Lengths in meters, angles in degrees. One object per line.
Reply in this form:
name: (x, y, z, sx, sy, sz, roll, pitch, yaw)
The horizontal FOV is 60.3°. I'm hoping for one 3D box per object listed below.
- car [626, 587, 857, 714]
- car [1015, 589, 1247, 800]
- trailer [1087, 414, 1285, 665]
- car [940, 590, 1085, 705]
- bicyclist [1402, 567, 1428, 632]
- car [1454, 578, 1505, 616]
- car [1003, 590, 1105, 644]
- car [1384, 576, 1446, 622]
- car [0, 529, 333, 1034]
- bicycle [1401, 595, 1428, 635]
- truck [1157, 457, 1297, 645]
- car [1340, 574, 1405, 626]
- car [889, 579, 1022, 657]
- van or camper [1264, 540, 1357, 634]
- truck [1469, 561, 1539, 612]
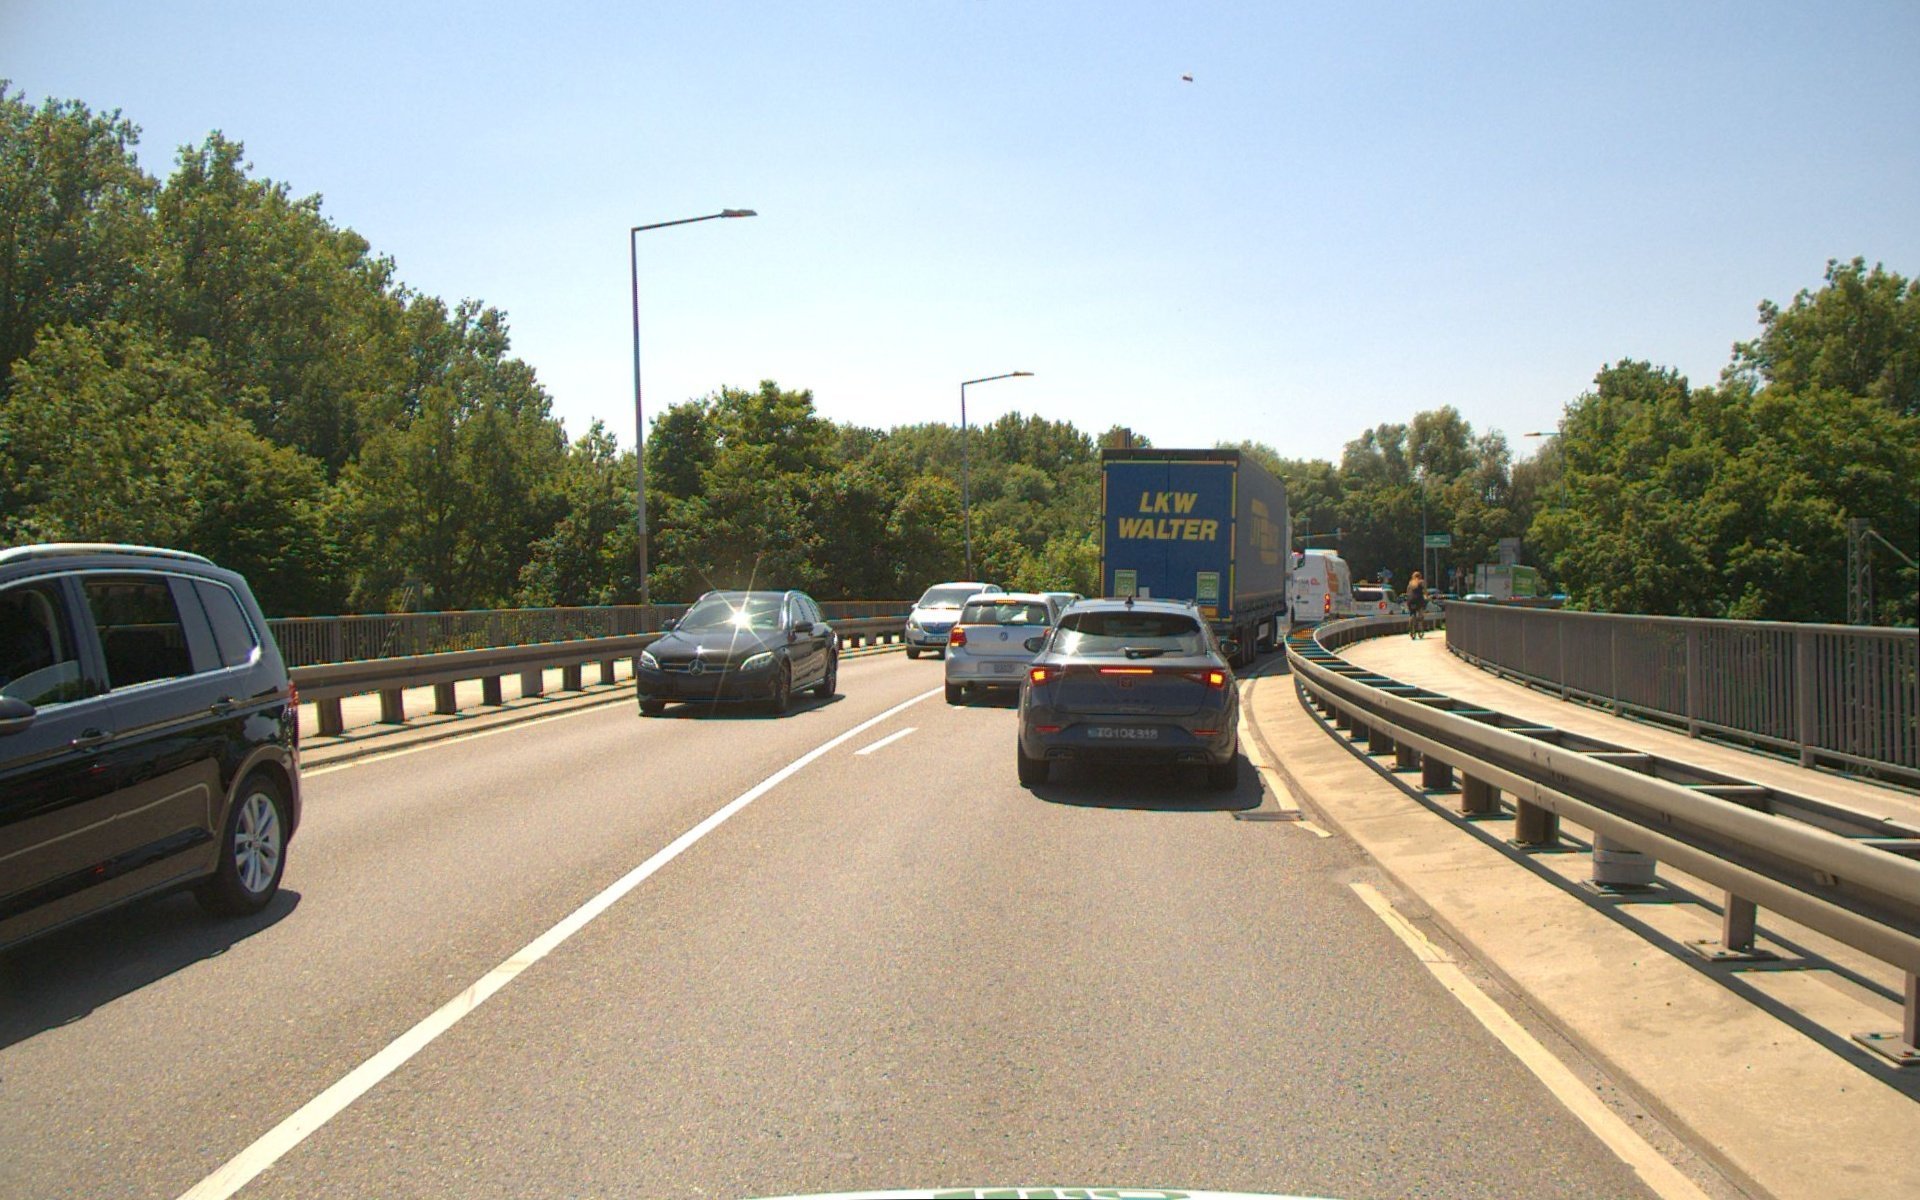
car: (-2.684, 0.570, 21.369, 1.734, 1.464, 4.396, 0, 0, 10)
car: (1.439, 0.659, 13.823, 1.641, 1.481, 3.961, 1, 0, 6)
trailer: (5.262, -1.166, 35.994, 2.843, 4.495, 12.443, 1, 1, 14)
car: (0.829, 0.602, 23.473, 1.641, 1.435, 3.978, 1, 1, 8)
bicyclist: (12.298, -0.007, 44.662, 0.566, 1.712, 0.729, -2, -1, 20)
car: (26.110, -0.173, 83.061, 1.688, 1.876, 3.993, 1, 1, 29)
car: (2.630, 0.433, 45.265, 1.662, 1.400, 4.000, 0, 0, 21)
car: (19.151, -0.067, 69.535, 1.688, 1.834, 3.995, 1, 1, 28)
car: (-3.997, 0.591, 5.977, 1.735, 1.654, 4.254, 0, 0, 2)
bicycle: (12.304, 0.407, 44.741, 0.570, 1.054, 1.485, -2, -1, 20)
truck: (7.059, -1.232, 43.018, 2.843, 4.495, 6.560, 1, 1, 15)
car: (15.622, -0.024, 62.520, 1.686, 1.876, 3.998, 1, 1, 24)
car: (-0.027, 0.364, 36.301, 1.700, 1.607, 4.179, 0, 0, 18)
van or camper: (11.558, -0.435, 54.181, 2.109, 2.864, 6.389, 1, 1, 20)
truck: (31.890, -0.800, 96.830, 2.295, 2.924, 5.920, 1, 1, 35)
